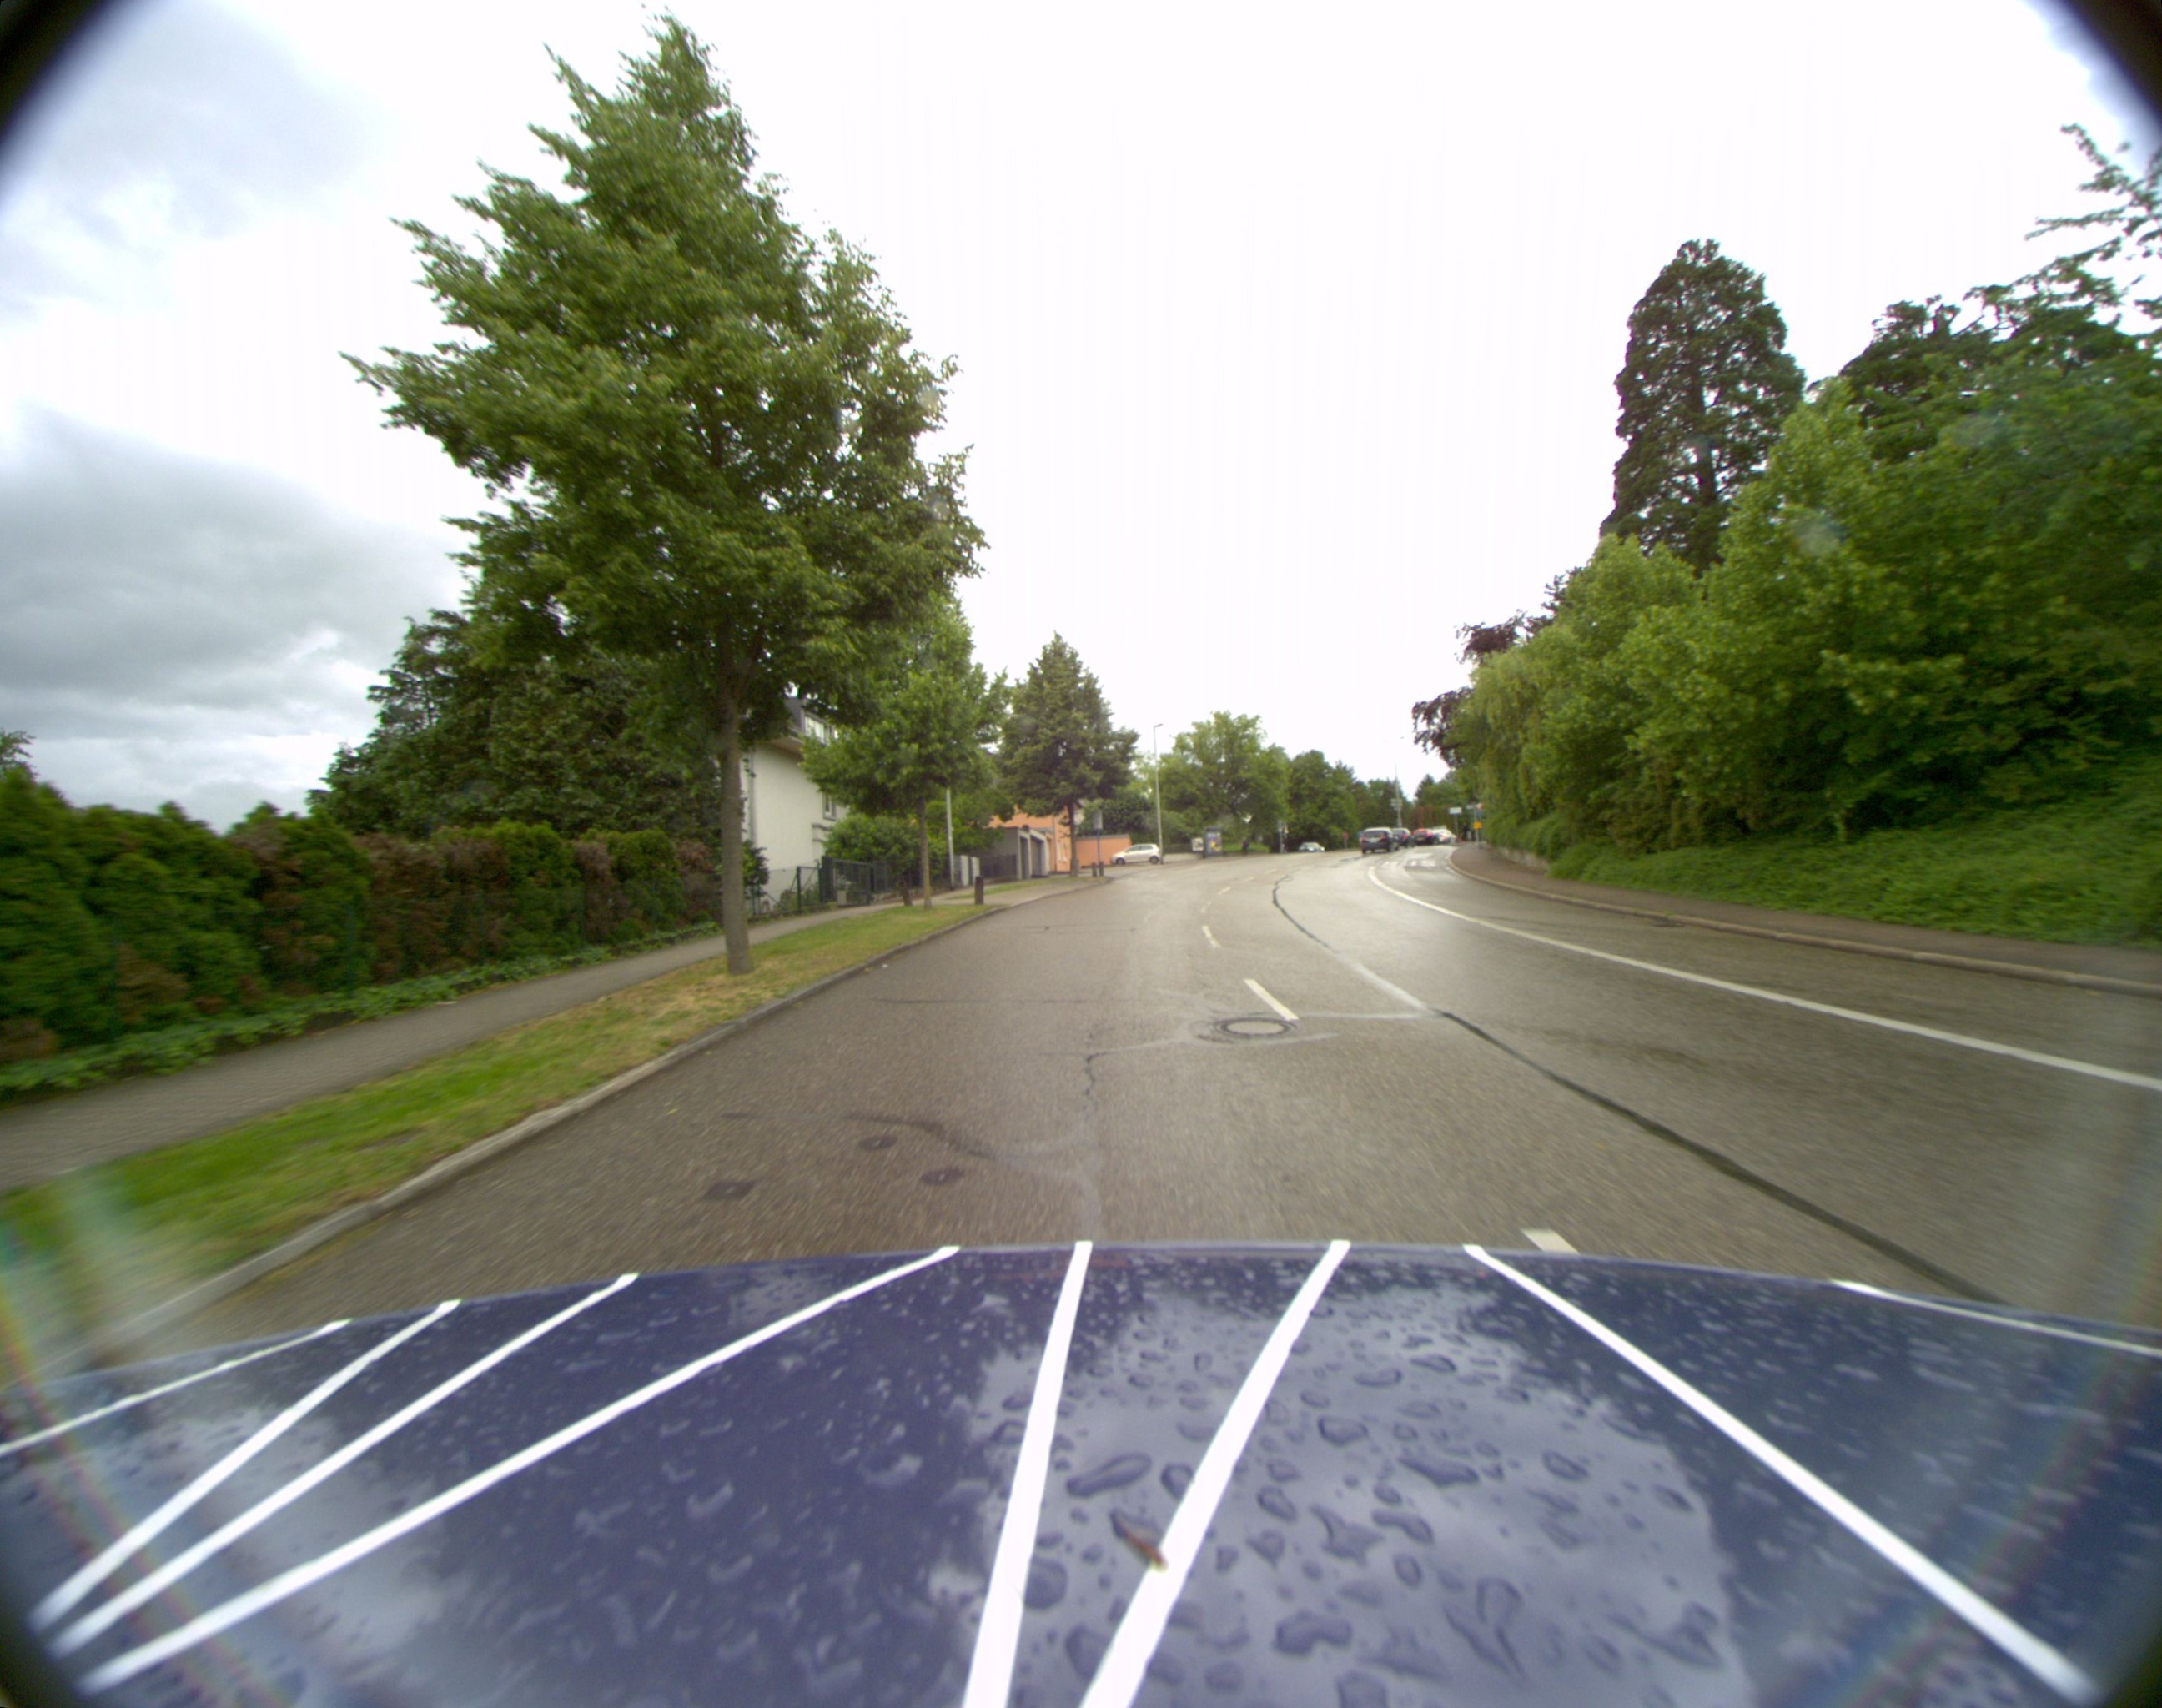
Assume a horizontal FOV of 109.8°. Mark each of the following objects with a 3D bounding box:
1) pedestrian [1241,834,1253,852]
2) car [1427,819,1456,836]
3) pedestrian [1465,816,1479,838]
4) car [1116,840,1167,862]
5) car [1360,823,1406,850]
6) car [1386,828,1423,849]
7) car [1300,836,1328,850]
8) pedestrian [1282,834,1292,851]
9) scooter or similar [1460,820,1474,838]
[{"bbox_3d":[15.512,-1.054,70.936,0.926,1.645,1.099,-3,0,18],"label":"pedestrian"},{"bbox_3d":[34.338,-2.523,72.363,1.829,1.394,4.829,-3,0,33],"label":"car"},{"bbox_3d":[32.092,-2.216,62.382,0.827,1.796,0.703,-3,0,-42],"label":"pedestrian"},{"bbox_3d":[4.712,-0.212,59.100,3.865,1.557,1.728,-1,0,8],"label":"car"},{"bbox_3d":[20.341,-1.222,51.056,1.811,1.568,4.694,-3,1,34],"label":"car"},{"bbox_3d":[24.651,-1.201,57.875,1.722,1.455,4.385,-3,0,35],"label":"car"},{"bbox_3d":[27.194,-1.283,88.845,1.862,1.406,4.387,-3,-2,-1],"label":"car"},{"bbox_3d":[21.173,-1.166,78.121,0.724,1.723,0.820,-3,0,28],"label":"pedestrian"},{"bbox_3d":[31.831,-2.059,62.664,1.320,1.507,0.509,-3,0,-42],"label":"scooter or similar"}]
